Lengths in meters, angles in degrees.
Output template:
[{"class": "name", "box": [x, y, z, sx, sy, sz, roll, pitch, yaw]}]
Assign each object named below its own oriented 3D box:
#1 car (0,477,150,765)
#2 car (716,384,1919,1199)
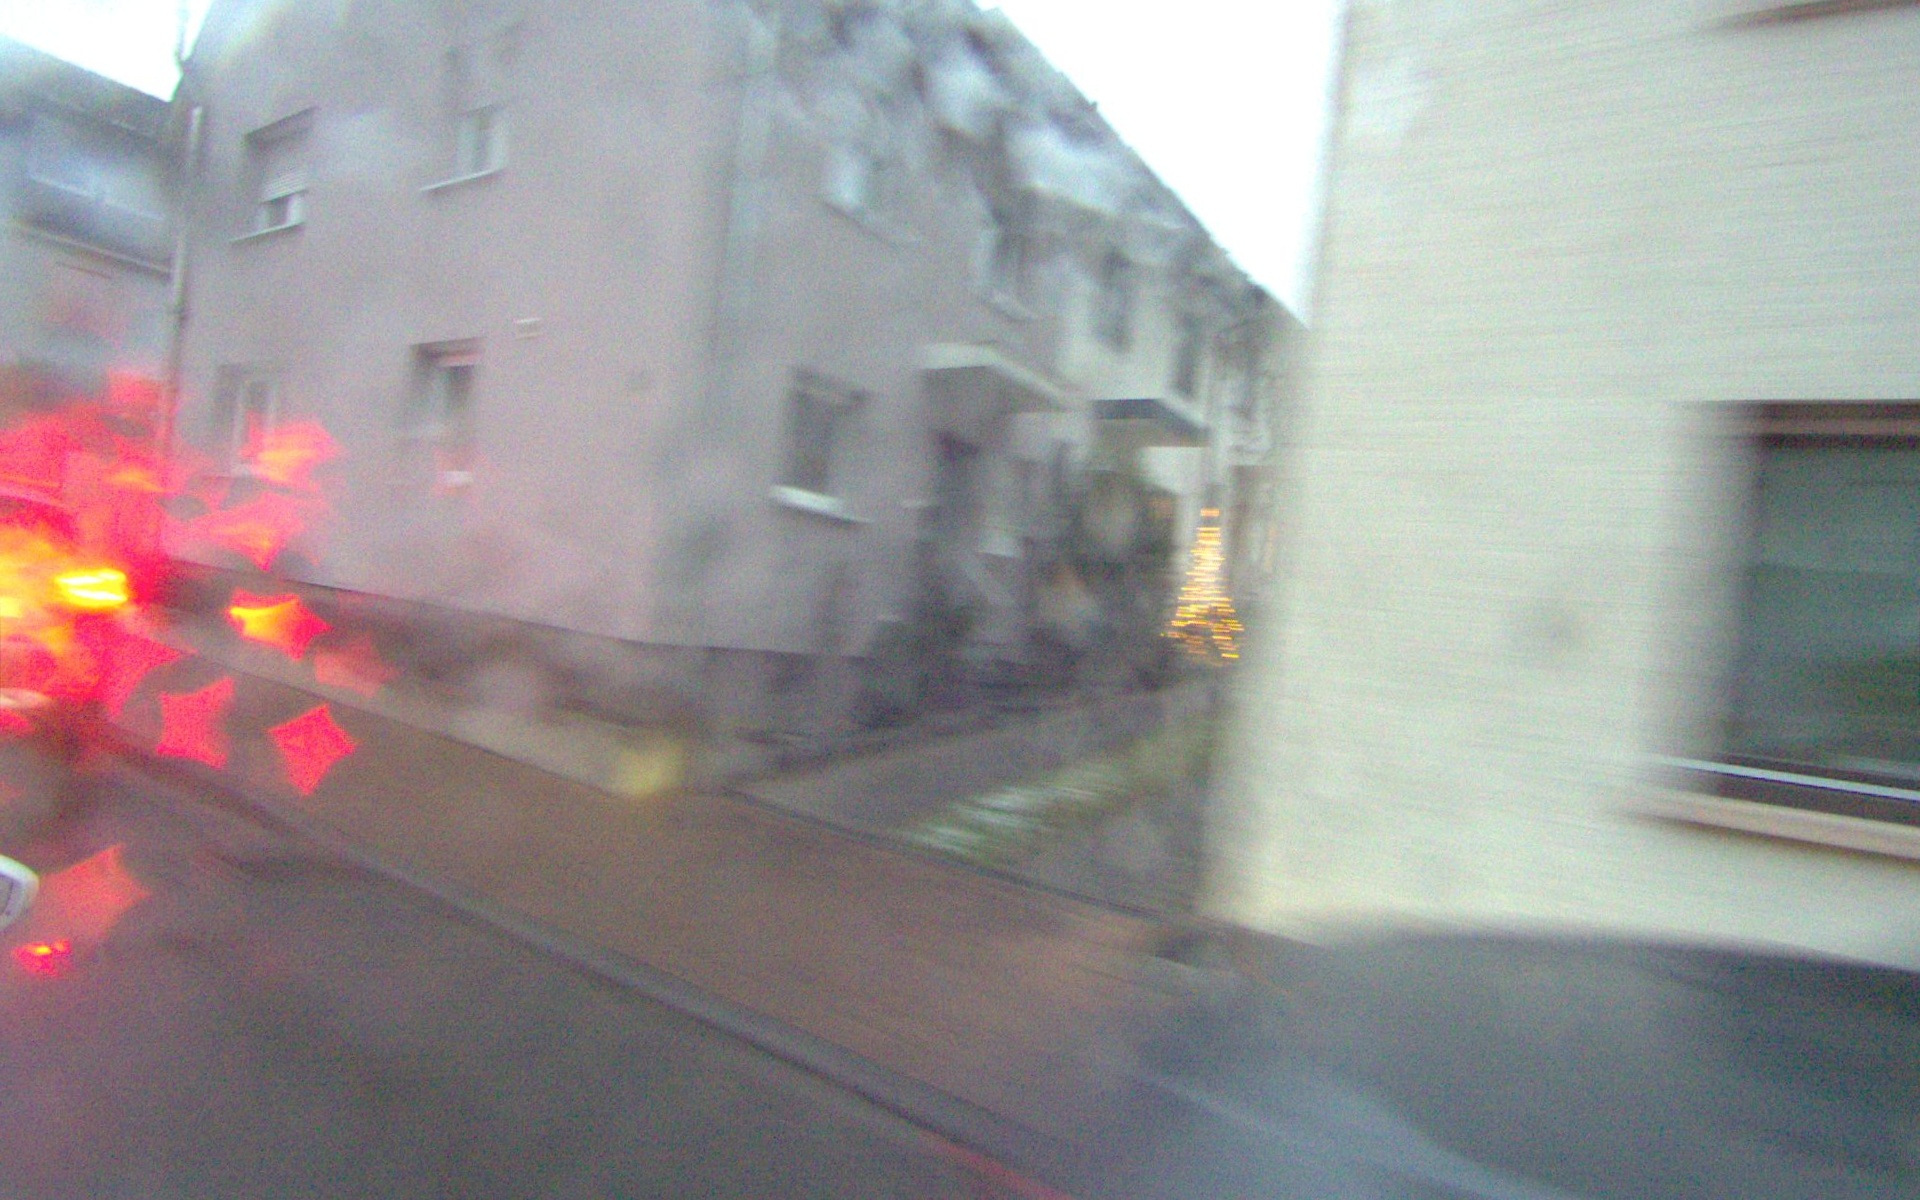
[{"class": "car", "box": [-6.981, -0.112, 6.199, 3.934, 1.552, 1.801, 7, -1, 32]}, {"class": "car", "box": [2.033, 0.928, 0.703, 4.262, 1.655, 1.852, 7, -2, 30]}]
